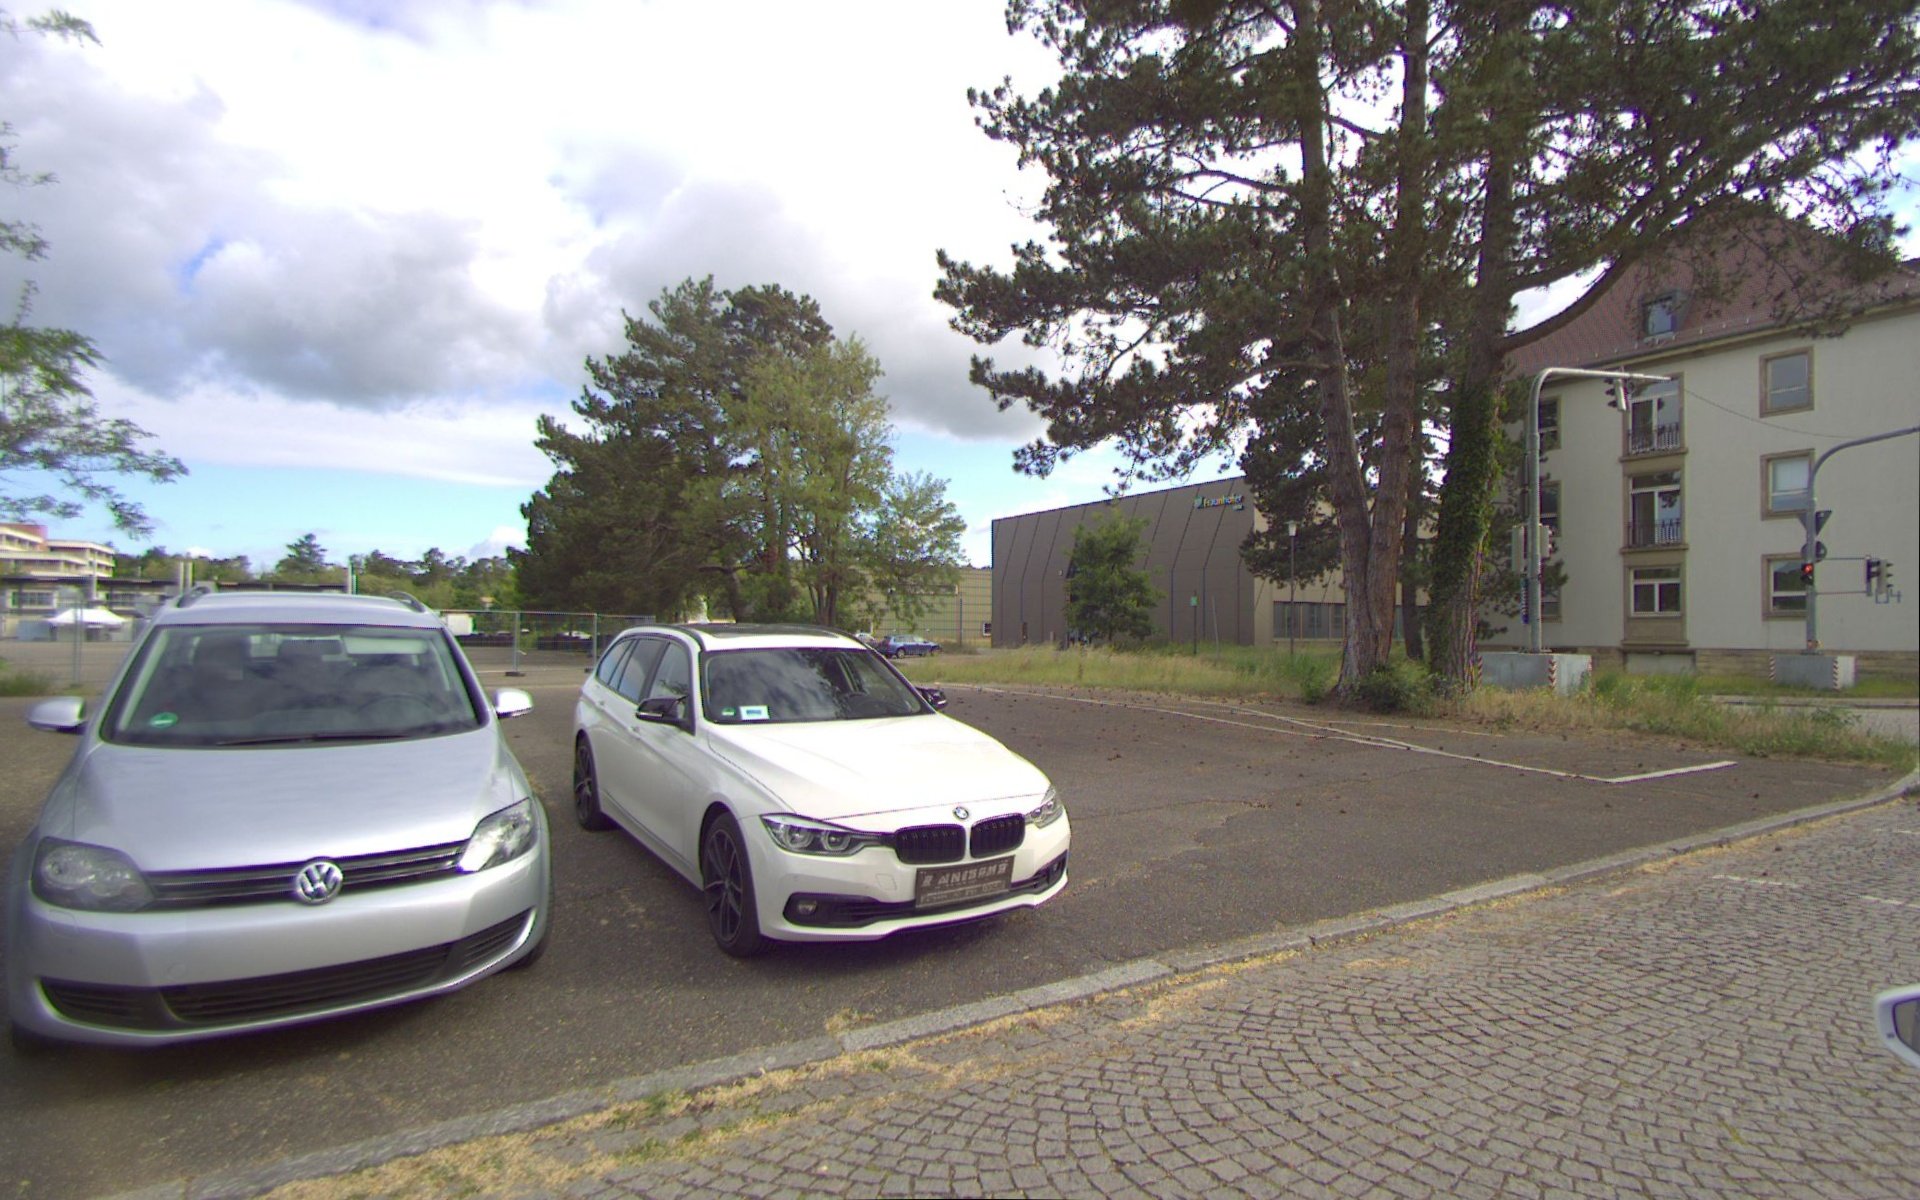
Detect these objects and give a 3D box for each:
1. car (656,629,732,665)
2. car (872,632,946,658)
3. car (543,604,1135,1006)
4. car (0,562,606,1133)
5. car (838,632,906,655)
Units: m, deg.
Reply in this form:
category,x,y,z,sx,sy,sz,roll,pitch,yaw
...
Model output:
category,x,y,z,sx,sy,sz,roll,pitch,yaw
car,-11.577,2.004,43.547,1.905,1.496,4.329,2,-2,-33
car,-3.326,2.898,65.691,4.486,1.552,1.981,0,-1,-35
car,-1.220,0.832,6.467,1.893,1.459,4.778,2,0,-32
car,-3.338,0.707,5.104,1.828,1.611,4.445,2,-1,-34
car,-6.366,3.099,72.465,4.480,1.552,1.984,0,-1,-31
